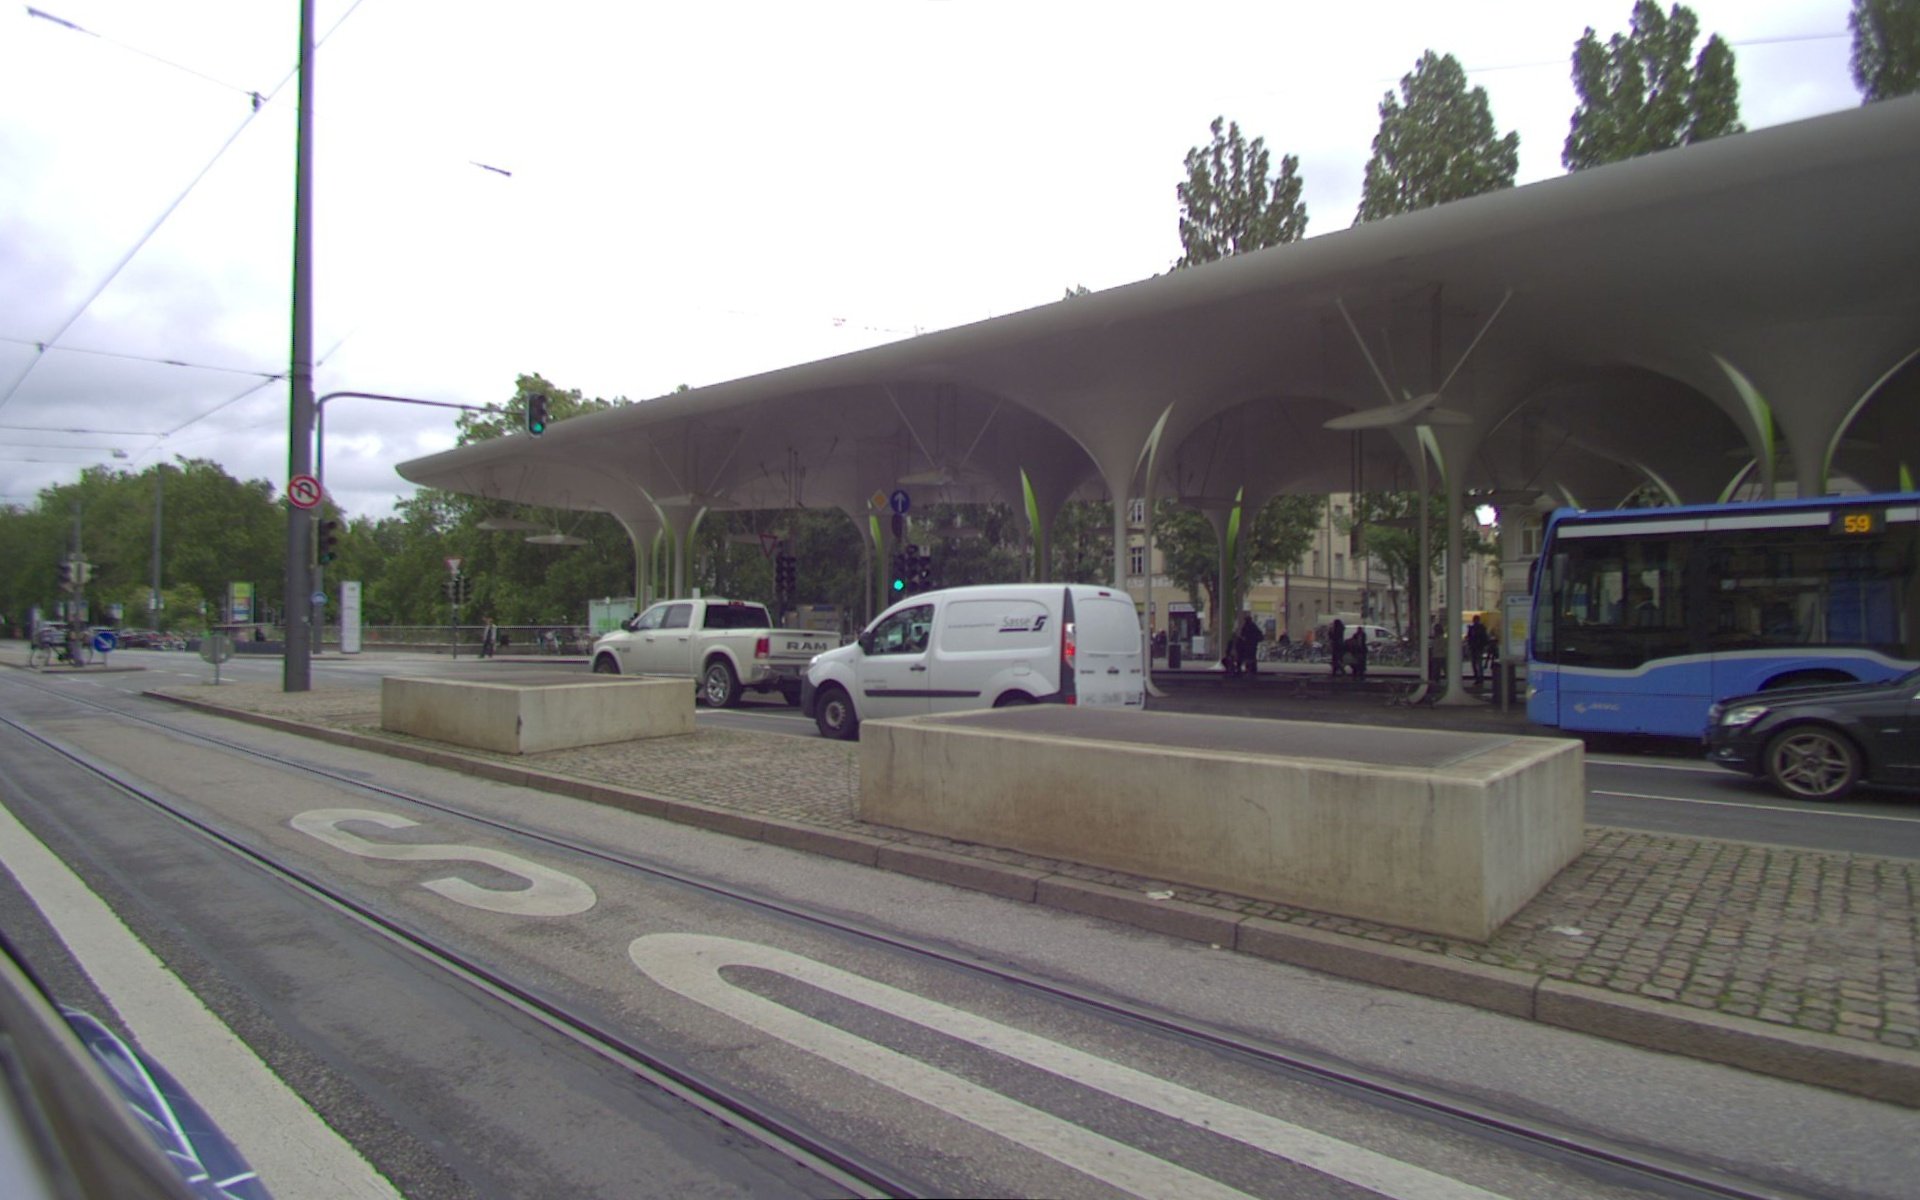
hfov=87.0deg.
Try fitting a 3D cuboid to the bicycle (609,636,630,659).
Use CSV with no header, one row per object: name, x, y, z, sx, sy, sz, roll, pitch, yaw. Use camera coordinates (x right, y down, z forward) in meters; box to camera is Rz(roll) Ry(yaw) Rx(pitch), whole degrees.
bicycle,-16.477,2.287,48.952,0.472,1.104,1.854,1,-2,-35

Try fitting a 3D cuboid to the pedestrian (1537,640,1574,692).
pedestrian,14.843,1.625,25.229,0.510,1.275,0.577,1,-2,-22

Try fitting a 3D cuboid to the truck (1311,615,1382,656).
truck,25.958,2.341,67.911,5.269,2.643,2.295,1,-2,-42

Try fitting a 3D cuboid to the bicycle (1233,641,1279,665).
bicycle,15.139,2.706,51.720,2.639,1.143,0.741,1,-2,-34

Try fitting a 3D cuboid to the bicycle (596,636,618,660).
bicycle,-16.974,2.301,48.661,0.472,1.104,1.854,1,-2,-35

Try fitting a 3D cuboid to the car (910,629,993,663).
car,-0.412,2.278,50.791,3.937,1.628,1.834,1,-2,-41

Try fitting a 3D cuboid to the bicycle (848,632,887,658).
bicycle,-5.230,2.539,57.278,2.562,1.432,0.627,-1,-2,42

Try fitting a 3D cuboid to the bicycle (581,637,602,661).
bicycle,-17.589,2.318,48.250,0.472,1.104,1.854,1,-2,-35

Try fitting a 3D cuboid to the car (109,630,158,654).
car,-55.358,2.820,67.749,4.230,1.537,1.840,-2,-3,41

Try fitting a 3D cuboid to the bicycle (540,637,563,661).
bicycle,-19.011,2.270,47.076,0.472,1.104,1.853,1,-2,-38

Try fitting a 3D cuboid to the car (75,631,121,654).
car,-63.185,3.105,74.157,4.099,1.582,1.973,-2,-2,41

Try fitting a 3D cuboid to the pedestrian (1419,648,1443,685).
pedestrian,13.034,1.829,28.008,0.509,0.996,0.456,-1,-2,15

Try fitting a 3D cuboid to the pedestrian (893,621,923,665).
pedestrian,-2.464,1.999,47.572,0.989,2.029,1.028,2,-2,-43

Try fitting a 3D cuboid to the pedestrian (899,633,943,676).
pedestrian,-1.174,1.612,30.044,0.799,1.239,1.274,1,-2,-30

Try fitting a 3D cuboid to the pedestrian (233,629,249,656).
pedestrian,-42.875,2.515,60.338,0.588,1.570,0.624,-2,-3,40

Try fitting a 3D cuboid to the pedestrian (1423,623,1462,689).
pedestrian,12.238,1.410,25.652,0.639,1.630,0.700,2,-3,-45

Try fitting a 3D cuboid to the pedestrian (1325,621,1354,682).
pedestrian,10.039,1.350,26.791,0.637,1.576,0.660,0,-2,16

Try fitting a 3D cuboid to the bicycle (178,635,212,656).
bicycle,-45.210,2.670,59.818,0.556,1.181,1.687,-1,-2,11

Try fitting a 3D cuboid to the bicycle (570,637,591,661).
bicycle,-17.990,2.329,47.921,0.472,1.104,1.854,1,-2,-35

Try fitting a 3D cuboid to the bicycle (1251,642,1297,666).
bicycle,15.822,2.688,50.971,2.639,1.143,0.741,1,-2,-34

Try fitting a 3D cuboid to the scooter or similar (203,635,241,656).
scooter or similar,-42.359,2.592,58.134,0.561,1.181,1.671,-2,-2,38

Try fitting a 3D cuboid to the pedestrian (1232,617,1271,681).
pedestrian,8.365,1.381,29.052,0.782,1.802,0.754,-2,-2,44

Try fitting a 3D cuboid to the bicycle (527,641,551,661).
bicycle,-19.444,2.354,46.740,0.473,0.901,1.852,1,-2,-41

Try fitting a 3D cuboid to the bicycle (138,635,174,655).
bicycle,-50.231,2.806,63.236,0.504,1.181,1.674,-1,-2,33

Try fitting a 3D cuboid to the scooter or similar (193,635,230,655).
scooter or similar,-44.025,2.637,59.537,0.558,1.181,1.681,-1,-2,22

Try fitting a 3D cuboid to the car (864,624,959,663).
car,-2.520,2.283,53.324,4.852,1.962,1.874,1,-2,-38

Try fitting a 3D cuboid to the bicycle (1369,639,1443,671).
bicycle,19.409,2.393,44.115,0.828,1.324,2.948,1,-2,-36

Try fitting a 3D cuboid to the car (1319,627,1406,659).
car,24.725,2.624,62.295,4.761,1.934,1.989,0,-2,17

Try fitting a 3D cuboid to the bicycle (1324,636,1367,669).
bicycle,20.665,2.782,54.198,1.000,1.625,3.576,-2,-2,41

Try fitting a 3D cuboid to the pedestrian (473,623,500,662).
pedestrian,-19.903,1.772,42.533,0.737,1.641,0.734,-1,-2,20

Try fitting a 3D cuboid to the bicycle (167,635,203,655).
bicycle,-47.101,2.721,61.508,0.560,1.181,1.675,-1,-2,31

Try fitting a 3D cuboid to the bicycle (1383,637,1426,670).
bicycle,22.903,2.721,52.042,1.000,1.625,3.576,-2,-2,41

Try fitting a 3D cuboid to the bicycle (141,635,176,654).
bicycle,-51.321,2.847,64.821,0.561,1.181,1.672,-2,-2,38

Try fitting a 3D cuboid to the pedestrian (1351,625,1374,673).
pedestrian,13.924,1.686,35.017,0.639,1.660,0.596,-1,-2,34

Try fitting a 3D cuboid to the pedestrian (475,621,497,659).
pedestrian,-21.589,1.821,46.077,0.725,1.729,0.862,1,-2,-38

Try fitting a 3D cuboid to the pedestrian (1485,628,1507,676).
pedestrian,20.606,2.002,38.907,0.549,1.828,0.556,1,-2,-37

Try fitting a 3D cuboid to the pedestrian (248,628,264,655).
pedestrian,-42.490,2.504,61.051,0.588,1.570,0.624,-2,-3,40

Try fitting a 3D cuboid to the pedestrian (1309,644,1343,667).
pedestrian,17.876,2.712,49.369,1.810,1.091,0.618,1,-2,-35

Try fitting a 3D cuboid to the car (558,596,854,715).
car,-4.925,0.984,18.973,6.150,1.902,2.153,-1,-3,40

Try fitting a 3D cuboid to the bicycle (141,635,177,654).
bicycle,-50.930,2.825,64.357,0.505,1.181,1.672,-2,-2,37

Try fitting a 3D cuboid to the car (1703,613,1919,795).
car,8.611,0.810,7.746,4.610,1.389,1.655,-1,-3,40

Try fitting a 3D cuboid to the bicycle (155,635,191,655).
bicycle,-48.205,2.751,62.009,0.560,1.181,1.675,-1,-2,31

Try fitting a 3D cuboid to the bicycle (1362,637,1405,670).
bicycle,22.119,2.742,52.835,1.000,1.625,3.576,-2,-2,41

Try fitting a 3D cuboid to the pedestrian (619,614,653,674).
pedestrian,-10.094,1.373,31.532,0.801,1.853,0.664,0,-2,9

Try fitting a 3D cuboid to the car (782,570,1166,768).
car,0.048,0.720,11.586,4.213,1.869,1.768,-1,-3,39

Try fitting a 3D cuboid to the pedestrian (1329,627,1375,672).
pedestrian,10.669,1.340,27.547,0.877,1.163,0.902,-2,0,41

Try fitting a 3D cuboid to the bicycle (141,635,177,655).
bicycle,-49.771,2.794,62.875,0.560,1.181,1.675,-1,-2,31

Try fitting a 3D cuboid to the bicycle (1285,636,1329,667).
bicycle,19.129,2.823,55.686,1.000,1.625,3.576,-2,-2,41

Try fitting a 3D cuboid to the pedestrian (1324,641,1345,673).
pedestrian,13.175,1.991,35.574,0.576,1.092,0.512,-1,-2,34

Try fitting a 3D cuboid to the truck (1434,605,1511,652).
truck,29.661,1.668,58.463,2.438,2.532,7.088,-2,-2,40

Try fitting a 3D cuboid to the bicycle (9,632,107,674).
bicycle,-27.324,1.579,30.706,0.503,1.159,2.214,0,0,22

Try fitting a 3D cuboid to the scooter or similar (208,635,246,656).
scooter or similar,-41.507,2.569,57.310,0.561,1.181,1.671,-2,-2,38

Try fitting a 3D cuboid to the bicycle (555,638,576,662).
bicycle,-18.518,2.344,47.471,0.472,1.104,1.854,1,-2,-35

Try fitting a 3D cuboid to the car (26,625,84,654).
car,-54.290,2.386,60.690,4.674,1.651,1.844,-1,-4,40

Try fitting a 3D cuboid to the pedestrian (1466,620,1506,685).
pedestrian,14.045,1.385,27.035,0.689,1.709,0.650,0,-2,-8

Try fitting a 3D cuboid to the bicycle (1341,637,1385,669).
bicycle,21.329,2.764,53.482,1.000,1.625,3.576,-2,-2,41

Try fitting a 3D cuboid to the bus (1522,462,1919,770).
bus,11.617,0.183,9.784,10.507,3.031,2.633,-1,-4,40

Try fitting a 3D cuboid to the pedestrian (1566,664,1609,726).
pedestrian,15.985,2.404,25.770,0.894,1.520,0.737,-1,-2,34

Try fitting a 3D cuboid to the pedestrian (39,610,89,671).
pedestrian,-27.228,1.219,30.770,0.892,1.825,0.854,0,-1,24
